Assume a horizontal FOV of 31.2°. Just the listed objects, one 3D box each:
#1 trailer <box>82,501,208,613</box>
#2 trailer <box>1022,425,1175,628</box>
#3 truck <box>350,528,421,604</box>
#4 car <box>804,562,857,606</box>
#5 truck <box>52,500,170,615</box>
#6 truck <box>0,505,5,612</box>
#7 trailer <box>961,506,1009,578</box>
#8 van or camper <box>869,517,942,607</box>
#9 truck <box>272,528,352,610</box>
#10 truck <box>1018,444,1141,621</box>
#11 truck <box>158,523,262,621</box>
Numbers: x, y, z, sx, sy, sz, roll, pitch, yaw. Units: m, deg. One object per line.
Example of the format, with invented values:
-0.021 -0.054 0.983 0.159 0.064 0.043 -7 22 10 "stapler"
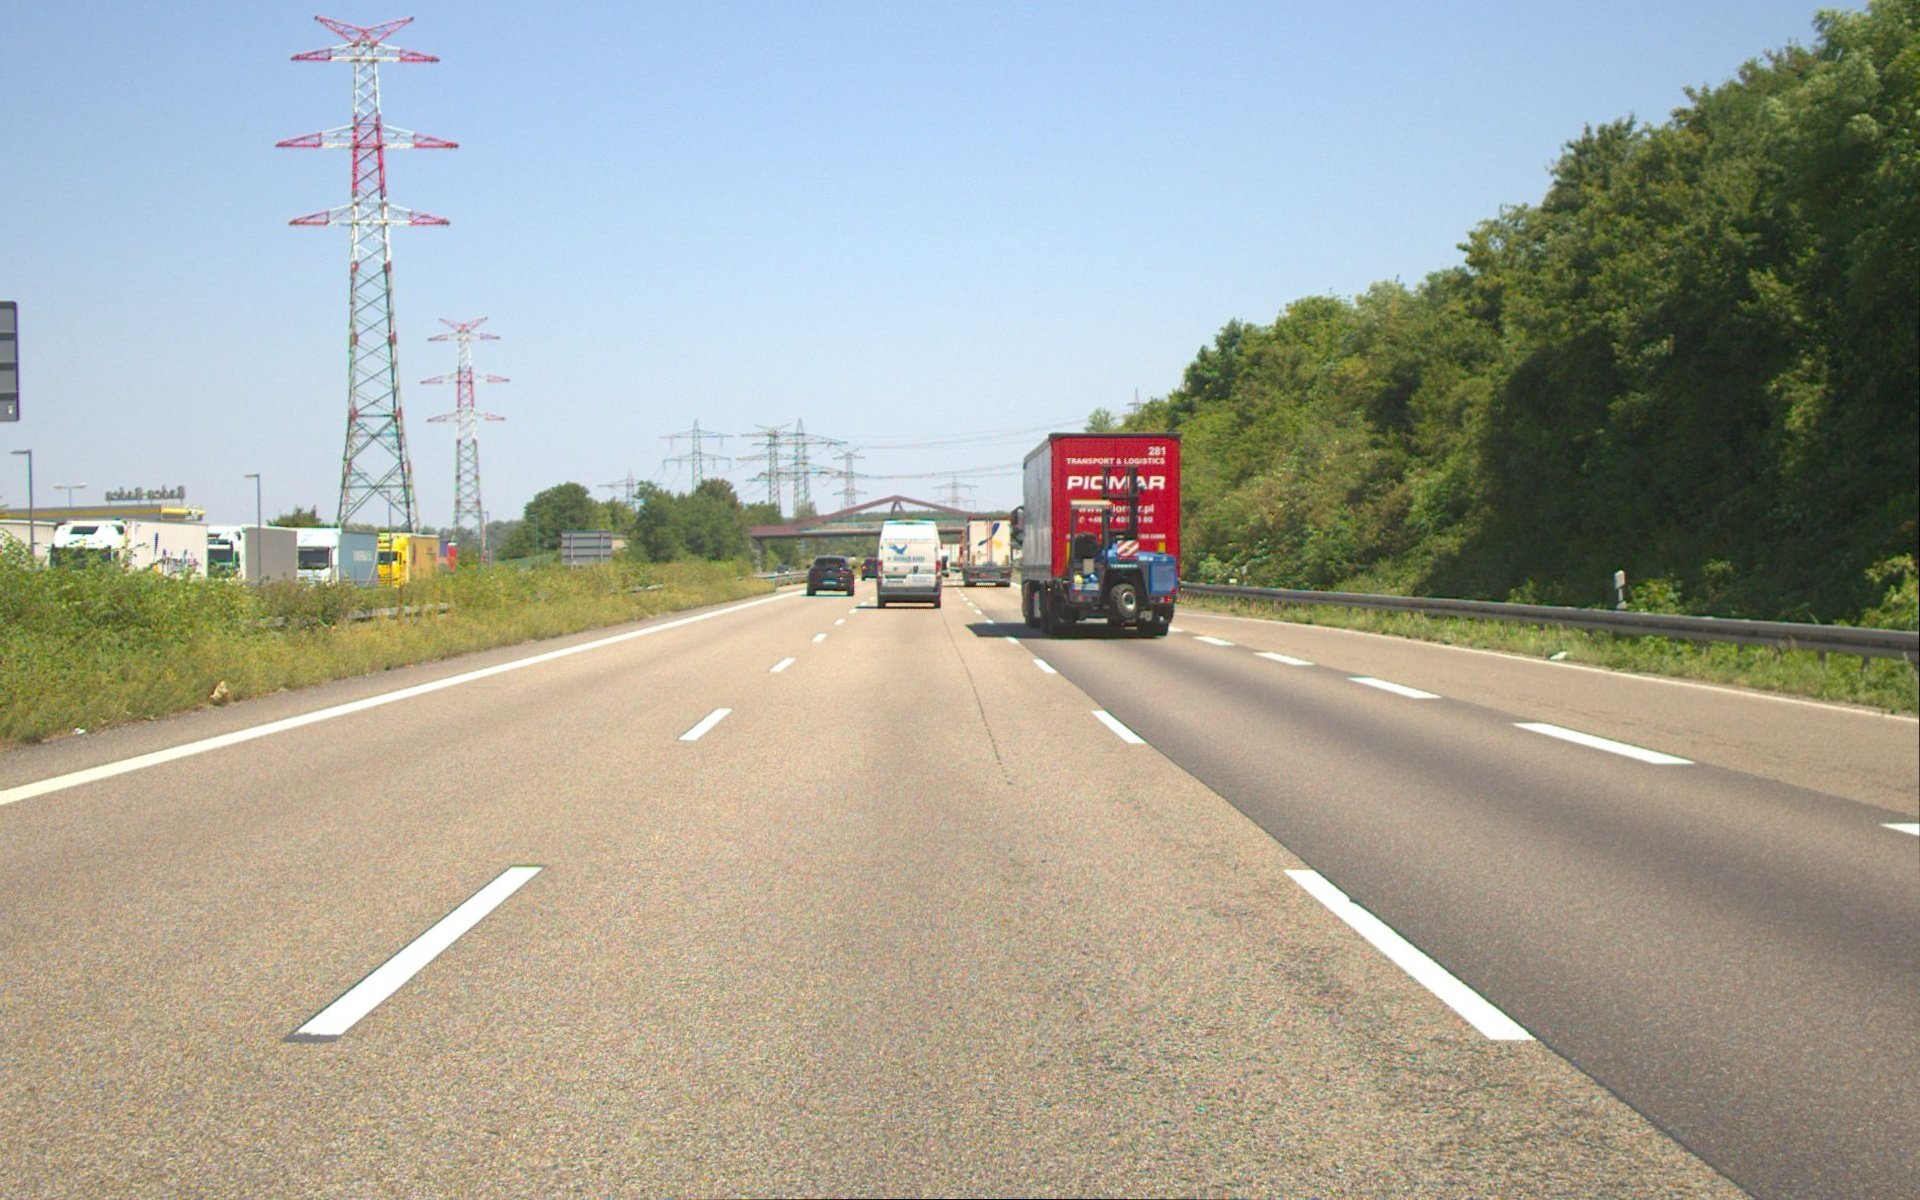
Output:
-32.068 -1.690 135.693 2.598 4.204 10.515 1 0 -1 "trailer"
2.796 -1.479 73.302 2.490 3.896 14.246 0 0 -1 "trailer"
-33.040 -1.951 197.976 2.833 4.186 7.919 1 0 -1 "truck"
-5.564 -0.703 148.029 1.982 1.811 3.812 1 0 2 "car"
-31.990 -1.606 129.824 2.581 4.174 7.937 1 0 -1 "truck"
-38.641 -1.603 129.365 3.095 4.138 8.317 1 0 -1 "truck"
1.488 -3.382 202.711 2.637 4.047 12.366 1 1 1 "trailer"
-1.722 -1.219 110.334 2.230 2.772 5.423 1 0 0 "van or camper"
-33.166 -1.610 176.230 2.849 4.059 7.090 1 0 -1 "truck"
2.712 -1.533 79.987 2.499 3.906 7.097 0 0 -1 "truck"
-33.016 -1.232 151.592 3.116 4.144 7.505 1 0 -2 "truck"
